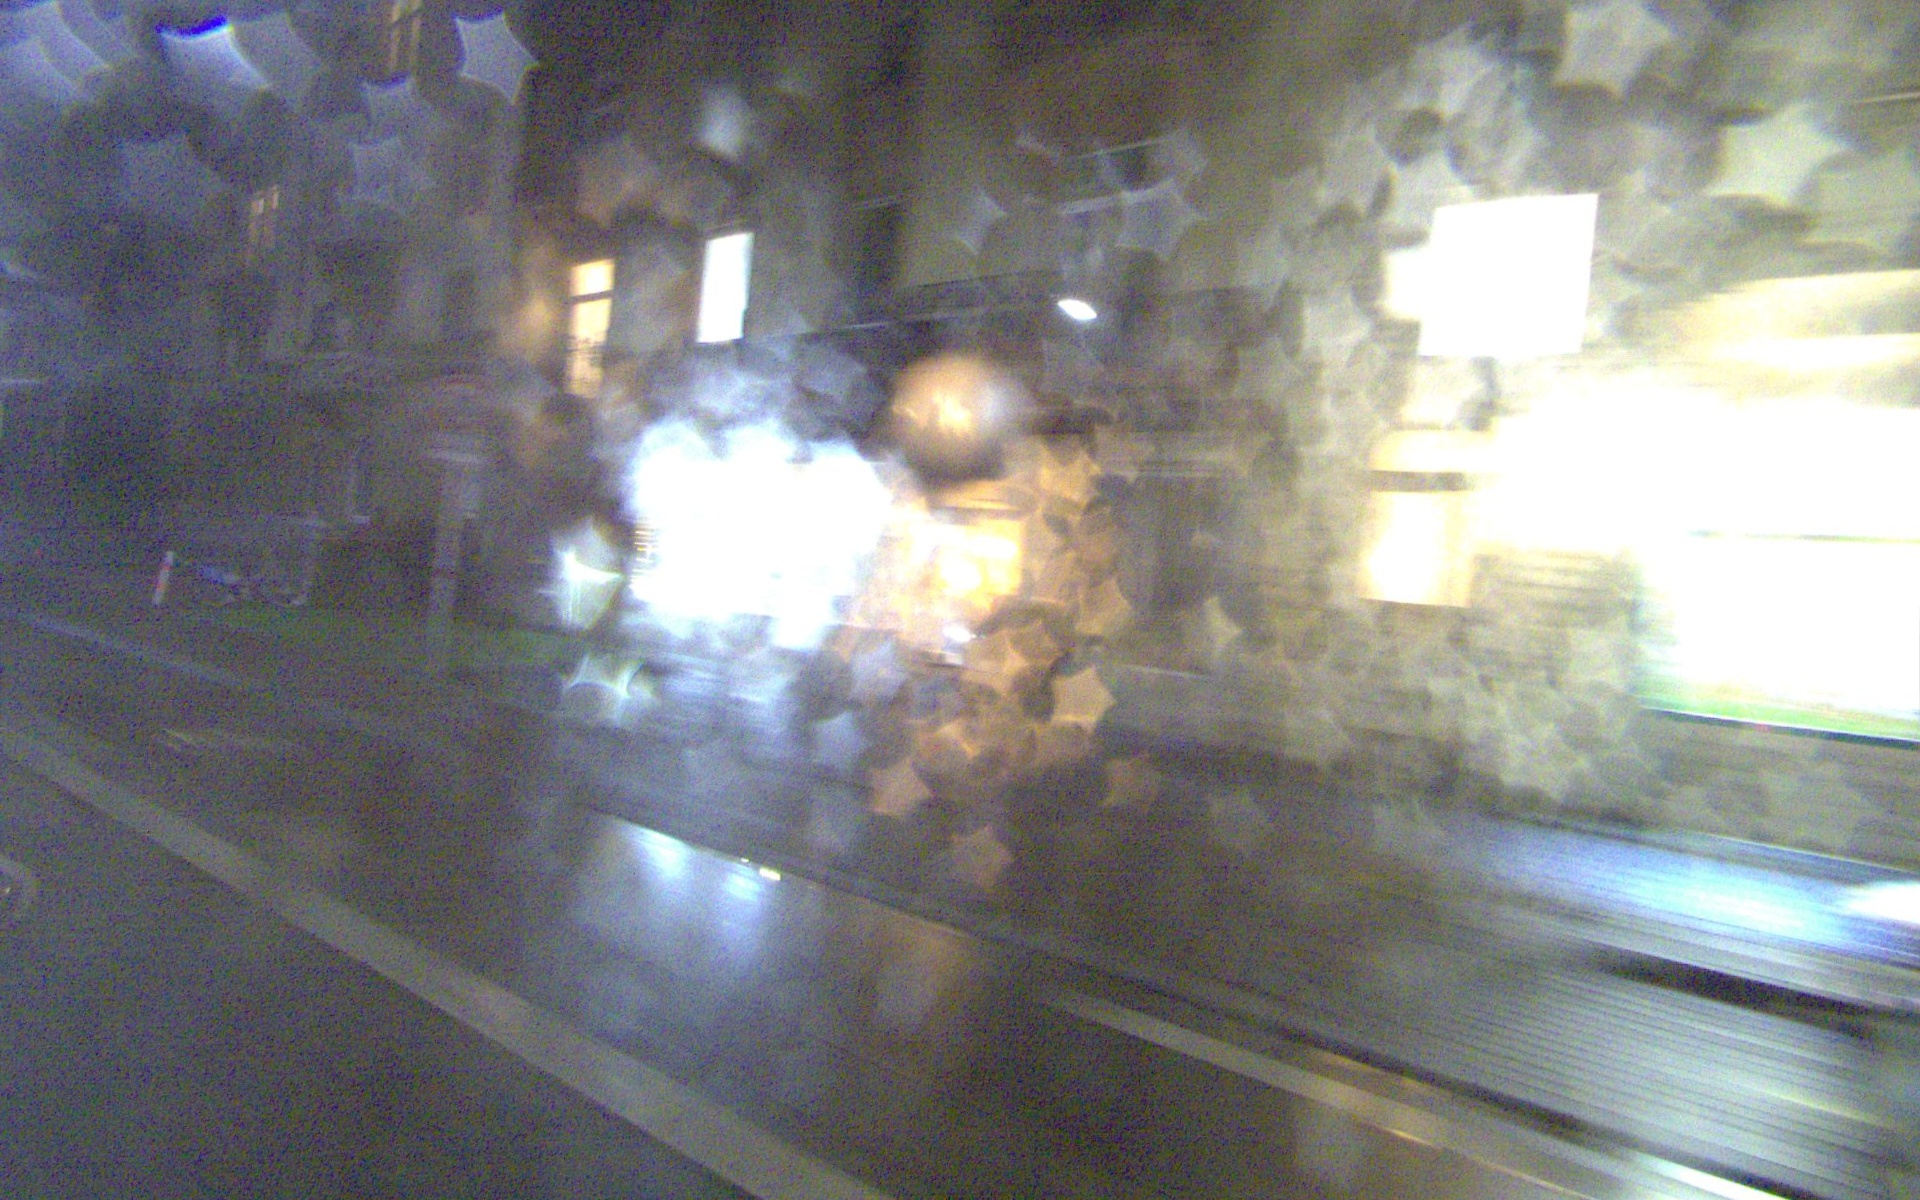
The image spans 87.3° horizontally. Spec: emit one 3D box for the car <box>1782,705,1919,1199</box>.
[{"bbox_3d":[5.052,1.374,2.844,3.992,1.462,1.642,6,4,36],"label":"car"}]

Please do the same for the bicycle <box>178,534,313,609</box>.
[{"bbox_3d":[-12.130,-0.461,17.135,0.485,1.179,1.812,5,2,34],"label":"bicycle"}]
